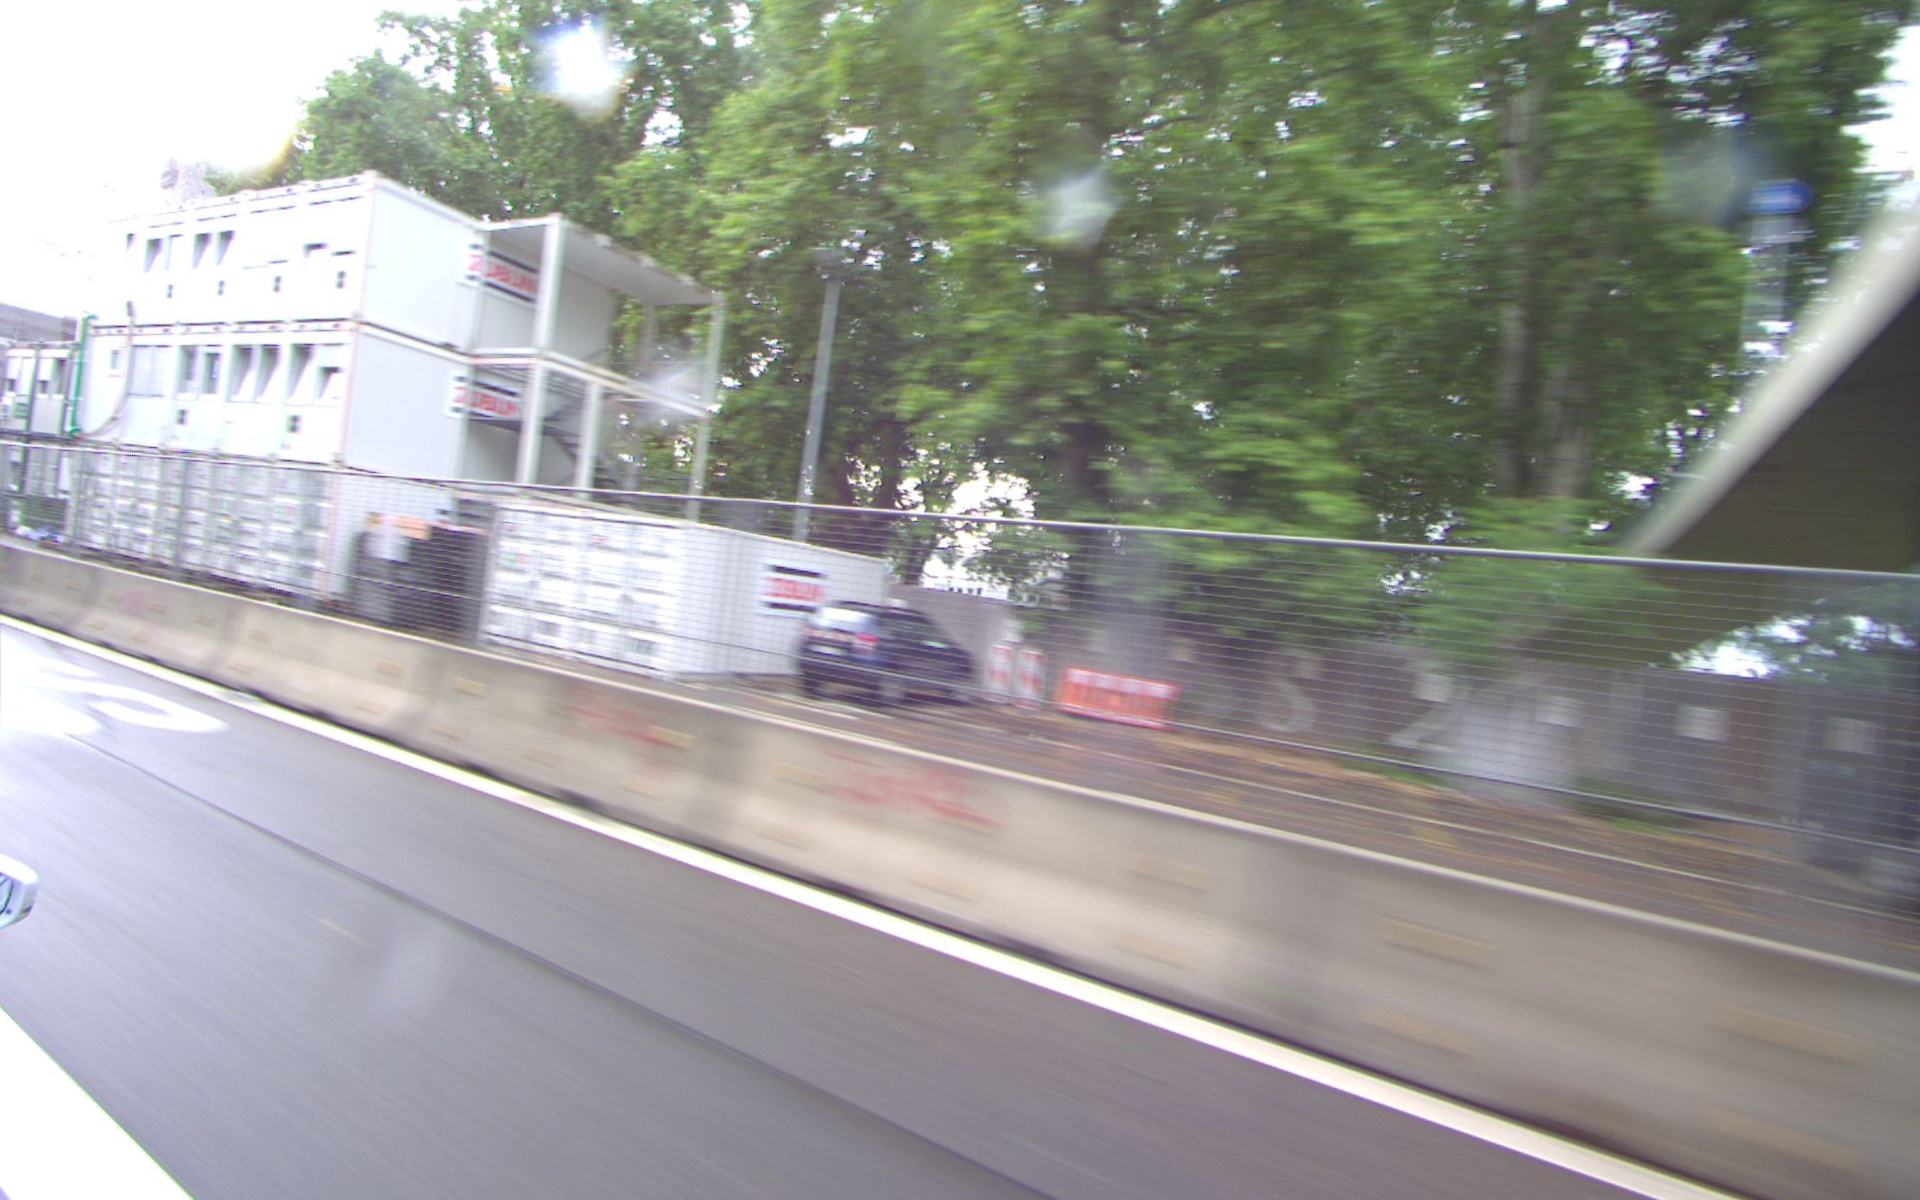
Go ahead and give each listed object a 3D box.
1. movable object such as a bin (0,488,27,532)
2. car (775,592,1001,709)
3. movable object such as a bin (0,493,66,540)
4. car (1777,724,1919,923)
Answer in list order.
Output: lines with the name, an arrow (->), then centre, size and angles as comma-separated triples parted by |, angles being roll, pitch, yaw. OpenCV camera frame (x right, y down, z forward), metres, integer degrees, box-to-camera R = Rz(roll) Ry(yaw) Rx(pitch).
movable object such as a bin -> -28.897, -2.730, 29.966 | 1.218, 1.252, 1.248 | 5, 1, 29
car -> -1.138, 0.964, 18.260 | 1.757, 1.648, 4.553 | 8, 0, 28
movable object such as a bin -> -26.153, -2.354, 28.223 | 1.218, 1.137, 1.248 | 5, 1, 29
car -> 10.913, 2.444, 10.925 | 1.964, 1.748, 4.512 | 7, -1, 25
